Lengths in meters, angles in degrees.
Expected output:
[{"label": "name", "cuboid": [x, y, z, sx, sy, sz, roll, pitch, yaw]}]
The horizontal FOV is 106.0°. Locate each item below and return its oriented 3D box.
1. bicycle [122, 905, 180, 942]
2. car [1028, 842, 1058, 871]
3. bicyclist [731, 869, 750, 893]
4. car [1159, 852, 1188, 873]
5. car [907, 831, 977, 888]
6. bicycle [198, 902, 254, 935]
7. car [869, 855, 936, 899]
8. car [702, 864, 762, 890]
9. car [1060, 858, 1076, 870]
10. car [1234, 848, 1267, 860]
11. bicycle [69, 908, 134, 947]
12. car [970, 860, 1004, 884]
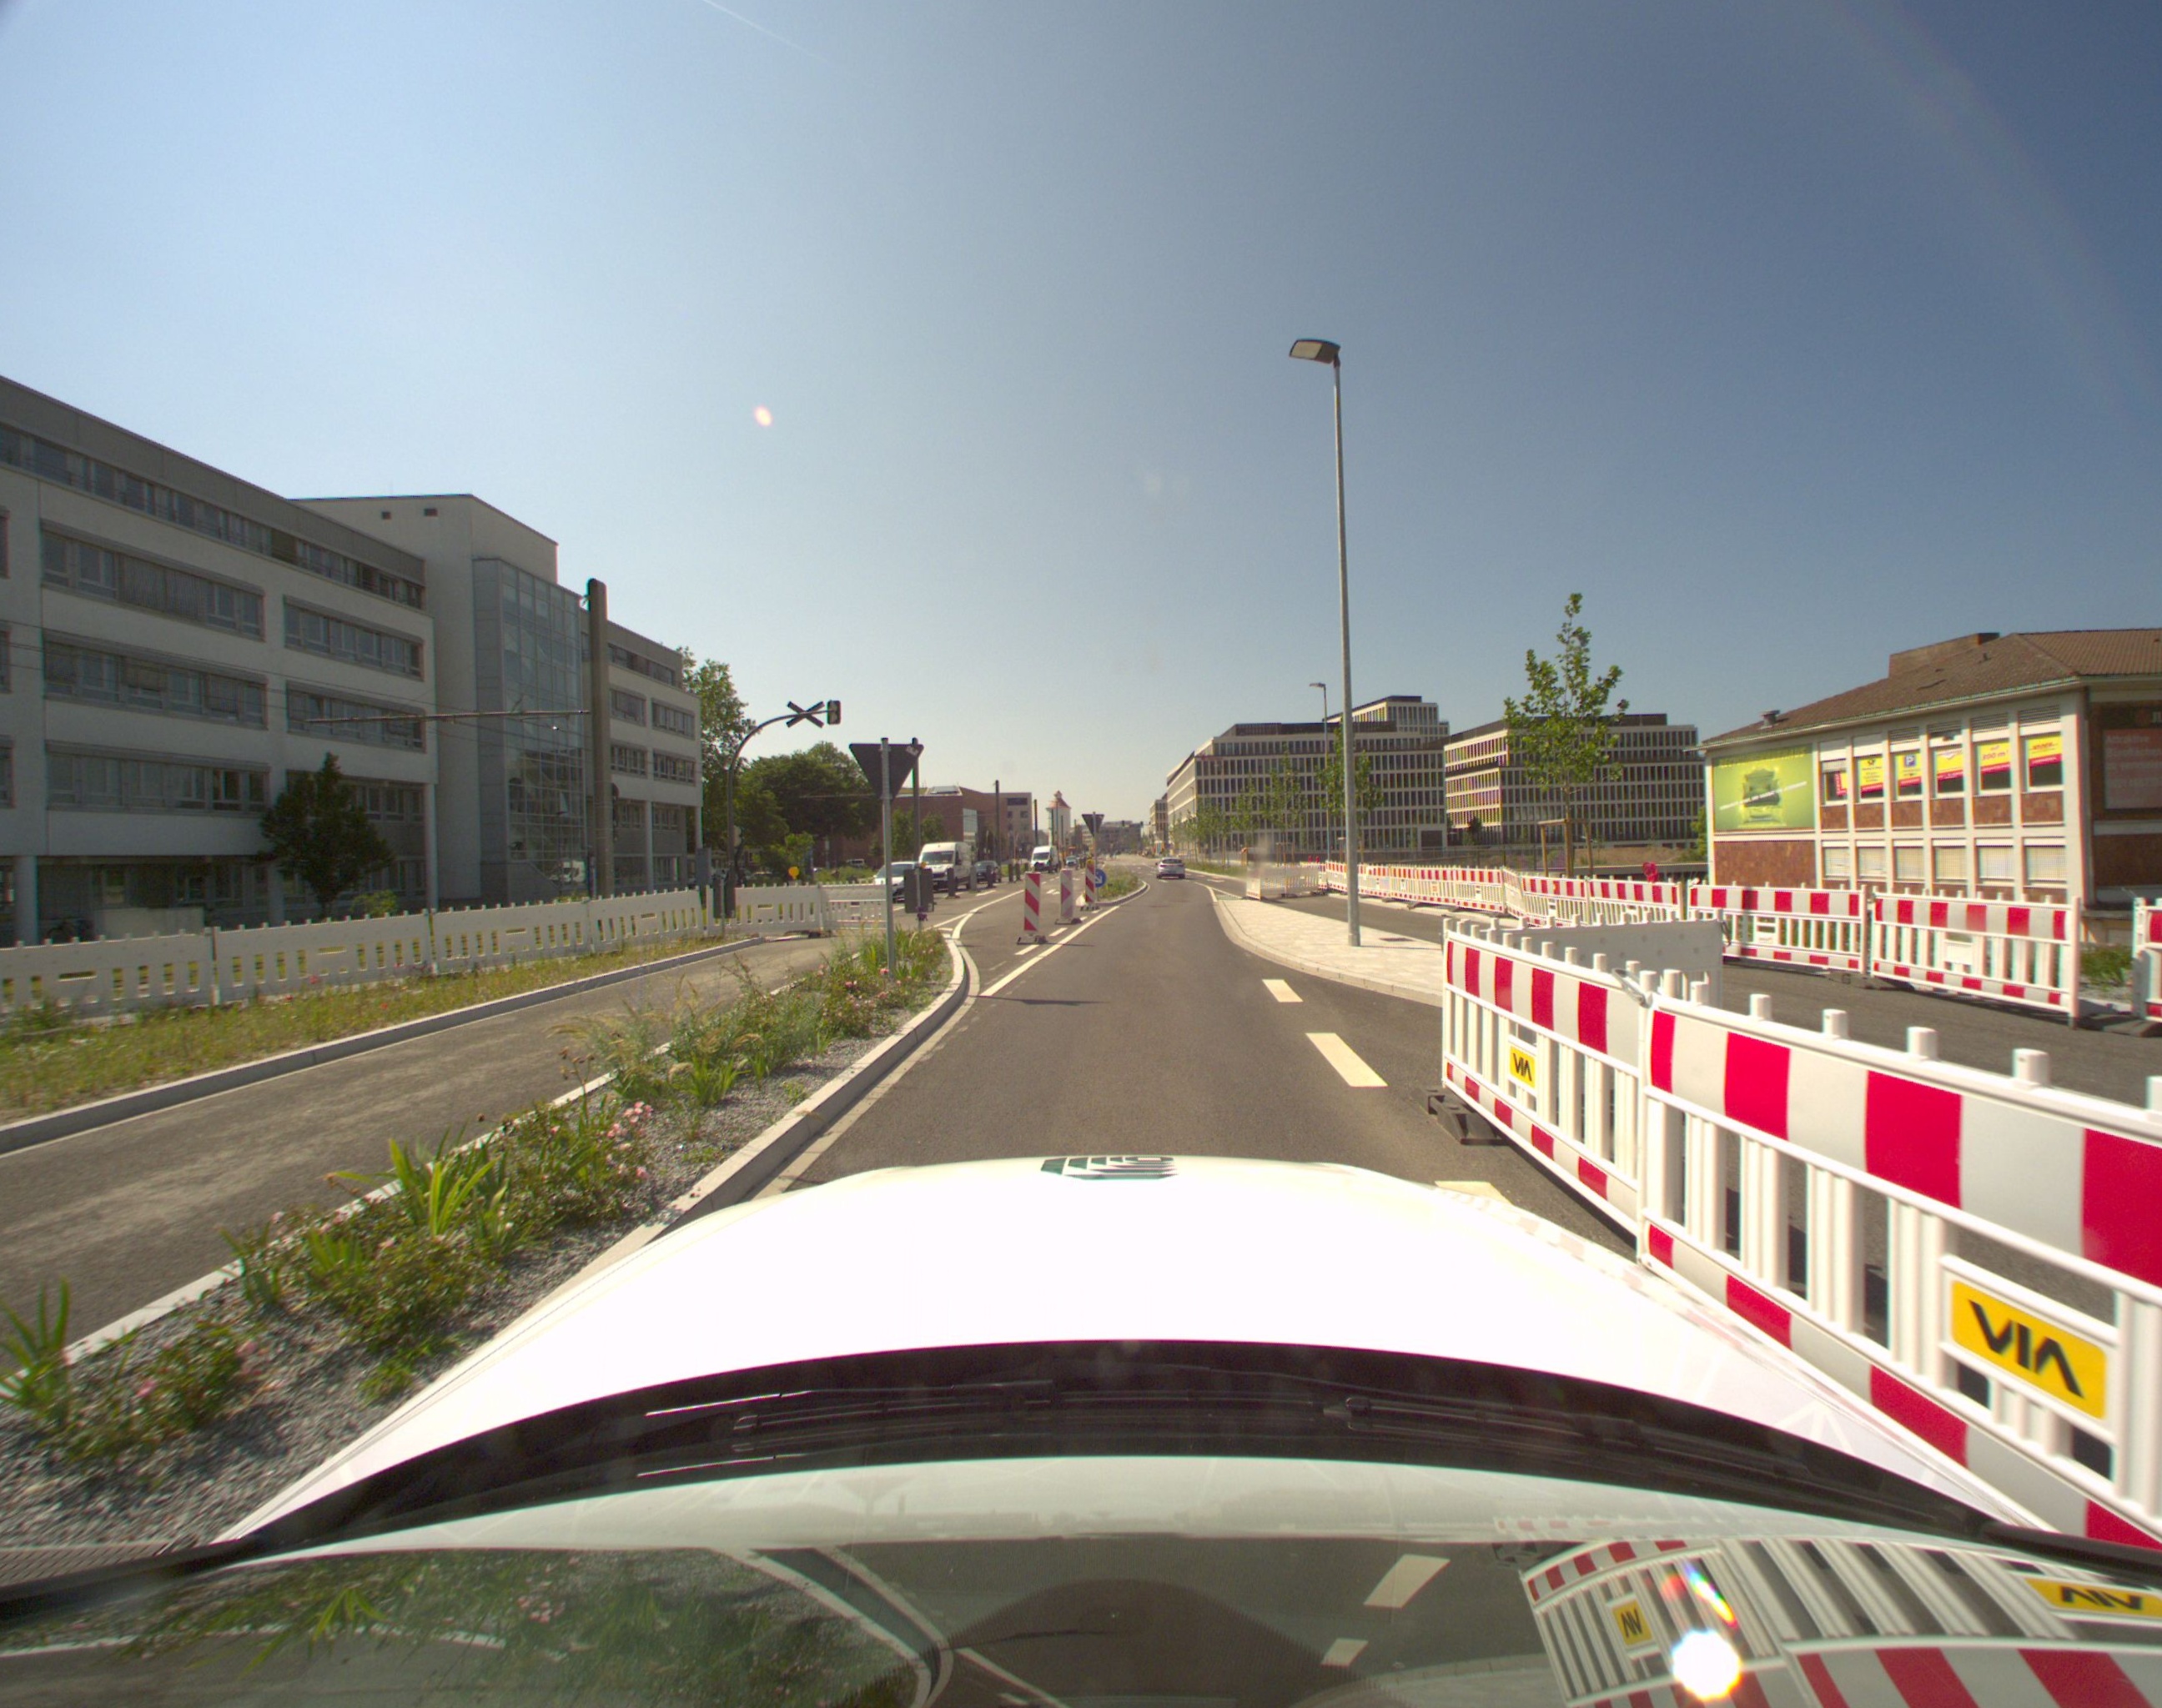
[{"label": "bicycle", "cuboid": [-31.480, 2.334, 27.558, 1.637, 1.189, 0.439, 0, 0, 7]}, {"label": "car", "cuboid": [-3.864, 0.241, 83.316, 2.067, 2.740, 5.995, -3, 0, 5]}, {"label": "bicyclist", "cuboid": [-21.998, 1.747, 52.661, 0.751, 1.539, 1.078, -1, -1, 3]}, {"label": "car", "cuboid": [6.151, 0.594, 54.642, 1.764, 1.395, 3.535, 0, -1, 4]}, {"label": "car", "cuboid": [-7.082, 0.284, 42.305, 2.022, 2.578, 6.200, -4, -1, 4]}, {"label": "bicycle", "cuboid": [-31.268, 2.358, 29.783, 1.640, 1.189, 0.438, 0, 0, 2]}, {"label": "car", "cuboid": [-7.089, 0.870, 32.759, 1.574, 1.541, 3.980, -4, 0, 2]}, {"label": "car", "cuboid": [-30.357, 1.981, 70.760, 5.011, 2.179, 2.127, -2, 0, 29]}, {"label": "car", "cuboid": [-1.657, 1.344, 108.244, 1.666, 1.443, 4.473, -3, 0, 4]}, {"label": "car", "cuboid": [31.805, -0.014, 152.859, 5.814, 2.270, 2.148, 1, 0, 2]}, {"label": "bicycle", "cuboid": [-31.450, 2.341, 26.152, 1.637, 1.189, 0.523, 0, 0, 7]}, {"label": "car", "cuboid": [-6.240, 1.165, 54.496, 1.539, 1.457, 4.195, -4, 0, 2]}]
